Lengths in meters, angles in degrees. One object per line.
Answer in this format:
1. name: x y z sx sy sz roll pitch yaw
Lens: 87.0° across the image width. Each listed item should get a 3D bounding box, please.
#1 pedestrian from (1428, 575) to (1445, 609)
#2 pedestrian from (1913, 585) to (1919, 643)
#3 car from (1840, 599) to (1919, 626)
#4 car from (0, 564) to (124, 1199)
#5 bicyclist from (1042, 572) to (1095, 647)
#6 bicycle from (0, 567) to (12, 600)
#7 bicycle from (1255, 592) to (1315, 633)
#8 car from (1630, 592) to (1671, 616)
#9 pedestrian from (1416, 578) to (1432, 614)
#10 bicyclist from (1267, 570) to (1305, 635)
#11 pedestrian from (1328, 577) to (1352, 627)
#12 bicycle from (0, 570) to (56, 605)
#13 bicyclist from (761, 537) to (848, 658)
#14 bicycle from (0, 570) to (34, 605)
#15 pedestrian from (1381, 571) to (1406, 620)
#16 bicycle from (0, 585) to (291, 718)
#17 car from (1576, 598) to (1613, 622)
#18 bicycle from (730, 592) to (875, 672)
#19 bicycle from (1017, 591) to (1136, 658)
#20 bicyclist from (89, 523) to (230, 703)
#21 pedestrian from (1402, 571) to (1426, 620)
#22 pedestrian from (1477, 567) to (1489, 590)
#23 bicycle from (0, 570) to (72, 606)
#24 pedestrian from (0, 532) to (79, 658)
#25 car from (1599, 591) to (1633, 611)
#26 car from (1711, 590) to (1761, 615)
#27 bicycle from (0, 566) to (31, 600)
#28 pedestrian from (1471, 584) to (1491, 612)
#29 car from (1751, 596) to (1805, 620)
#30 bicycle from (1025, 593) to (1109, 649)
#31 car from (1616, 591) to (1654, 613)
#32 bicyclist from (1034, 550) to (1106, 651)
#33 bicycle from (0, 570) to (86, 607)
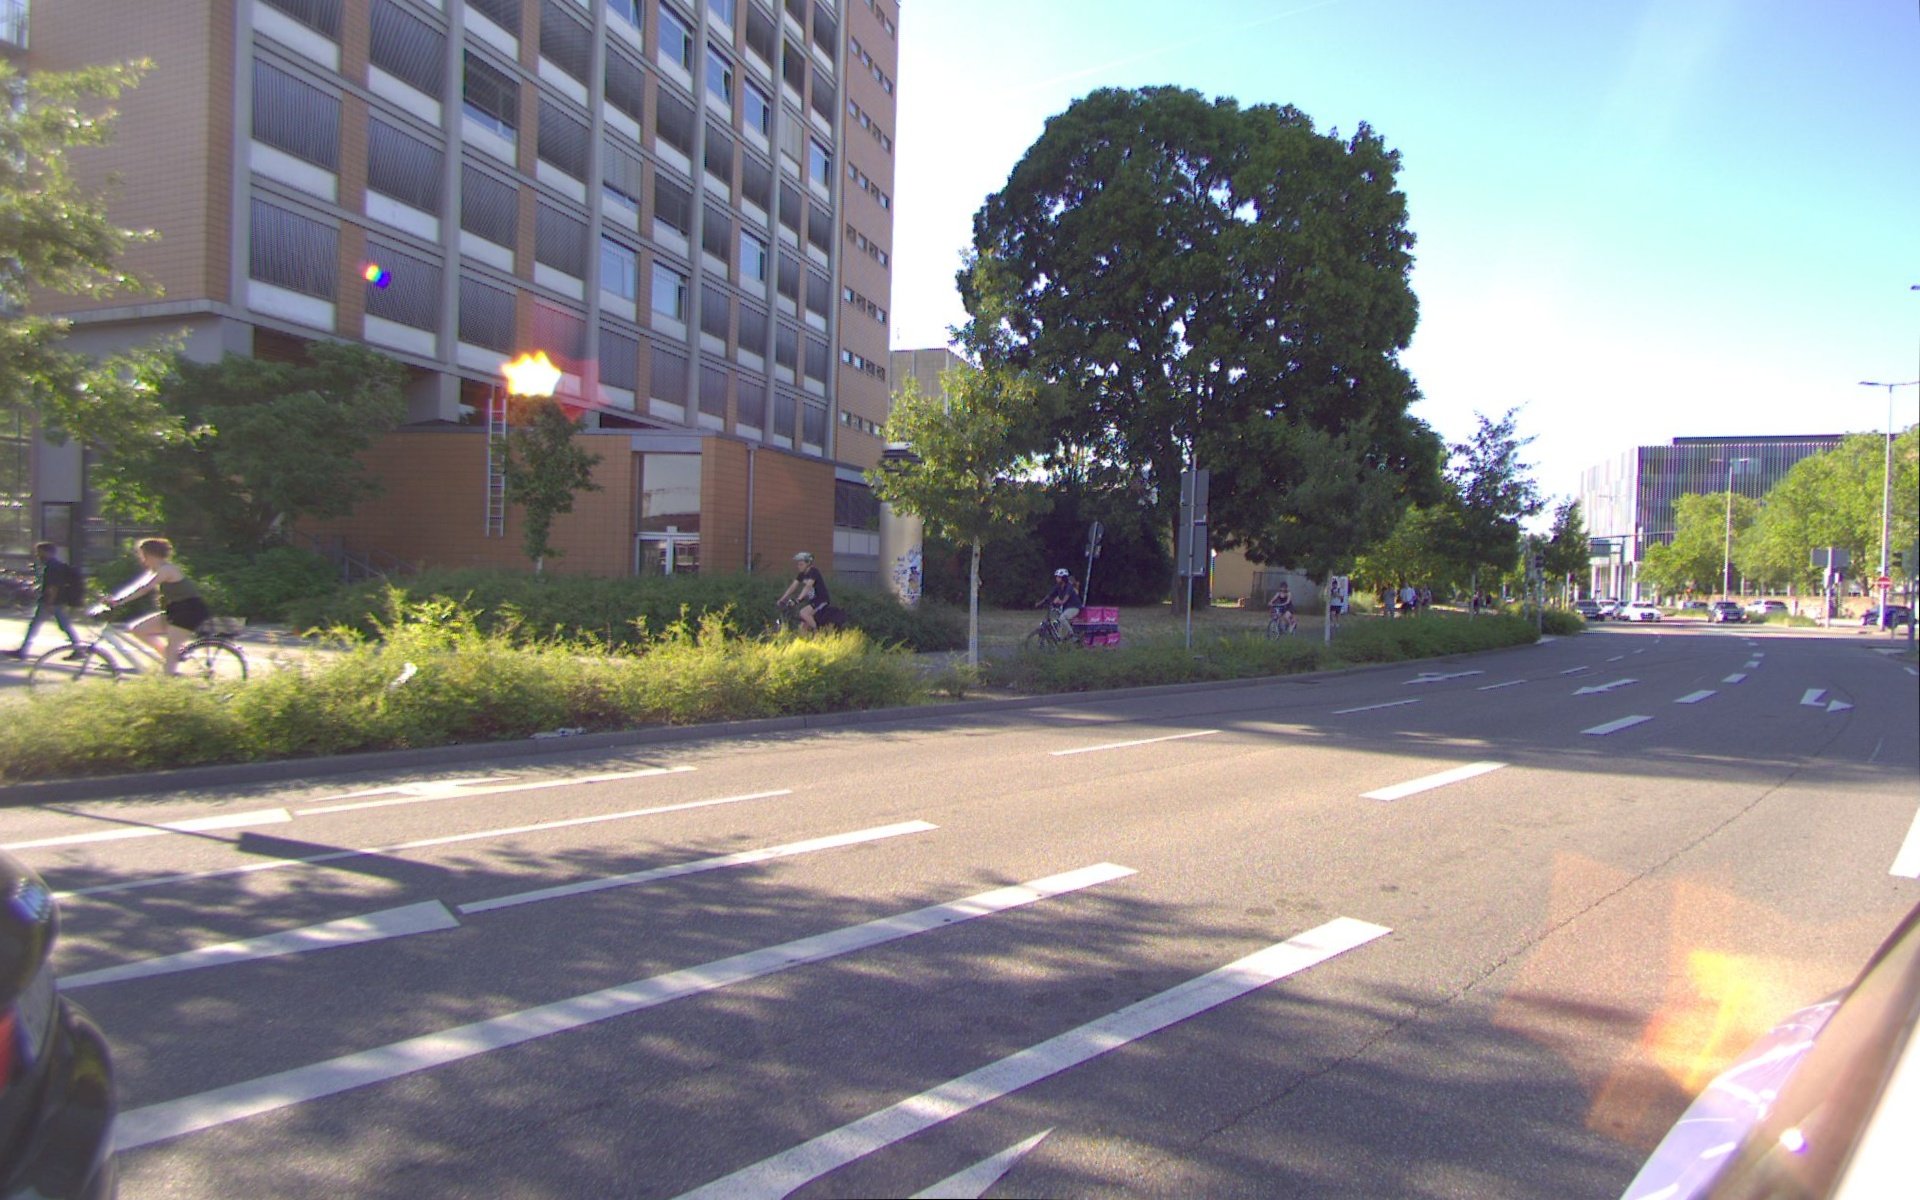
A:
1. pedestrian: 24.239 -0.412 51.500 0.667 1.725 0.871 2 1 19
2. pedestrian: 29.841 0.438 30.964 0.924 1.762 0.746 2 1 40
3. car: 58.737 0.813 63.857 2.151 1.606 4.611 2 -1 -6
4. car: -3.052 0.681 0.617 3.908 1.463 1.804 0 0 -40
5. bicyclist: 2.341 0.200 21.752 0.834 1.568 0.716 3 -1 -40
6. bicycle: -25.771 -0.420 26.261 0.522 0.868 1.644 2 1 19
7. bicycle: 9.298 0.346 28.879 2.031 1.135 0.718 0 0 -42
8. car: 47.763 0.273 70.090 1.787 1.538 4.390 2 2 27
9. pedestrian: 20.815 -0.179 45.417 0.616 1.594 0.634 2 1 25
10. bicyclist: 9.306 0.064 28.895 0.835 1.810 0.716 0 0 -42
11. pedestrian: 13.462 0.059 35.863 0.618 1.720 0.623 2 1 33
12. bicycle: -23.677 -0.315 25.247 0.522 0.868 1.644 2 1 19
13. bicyclist: -2.468 -0.055 16.098 0.778 1.853 1.076 2 1 44
14. bicycle: -24.309 -0.319 25.309 0.522 0.868 1.644 2 1 19
15. pedestrian: 17.259 -0.183 40.294 0.609 1.892 0.578 1 1 -15
16. bicycle: -8.199 0.470 10.277 2.251 1.170 0.780 0 4 -42
17. car: 44.201 0.687 70.526 1.787 1.538 3.962 2 2 27
18. bicycle: -2.465 0.469 16.118 0.778 1.170 2.255 3 2 44
19. bicycle: 2.256 0.438 19.296 2.537 1.170 0.779 0 2 -44
20. bicyclist: -8.143 0.104 10.296 1.074 1.697 0.780 0 4 -41
21. pedestrian: 17.814 -0.192 39.713 0.609 1.892 0.578 1 1 -15
22. pedestrian: 40.760 -1.659 78.905 0.705 1.734 0.728 2 1 25
23. bicycle: -23.127 -0.297 25.081 0.522 0.868 1.644 2 1 19
24. pedestrian: -12.725 -0.063 13.855 0.774 1.680 0.810 0 -1 -23
25. car: 53.641 0.048 82.791 1.907 1.538 3.980 2 2 27
26. car: 51.917 0.131 67.761 1.907 1.538 3.980 2 2 27
27. bicycle: -25.084 -0.432 26.086 0.522 0.868 1.644 2 1 19
28. pedestrian: 35.047 -0.137 68.026 1.006 1.771 0.844 2 1 19
29. car: 64.152 0.629 79.469 2.172 1.705 4.568 2 1 24
30. bicycle: 2.311 0.460 21.729 1.835 1.136 0.718 3 -1 -40
31. car: 51.066 0.136 76.662 1.907 1.538 3.980 2 2 27
32. bicyclist: 2.083 0.007 19.187 1.071 1.856 0.781 1 1 -29
33. bicycle: -22.607 -0.293 24.887 0.522 0.868 1.644 2 1 19
